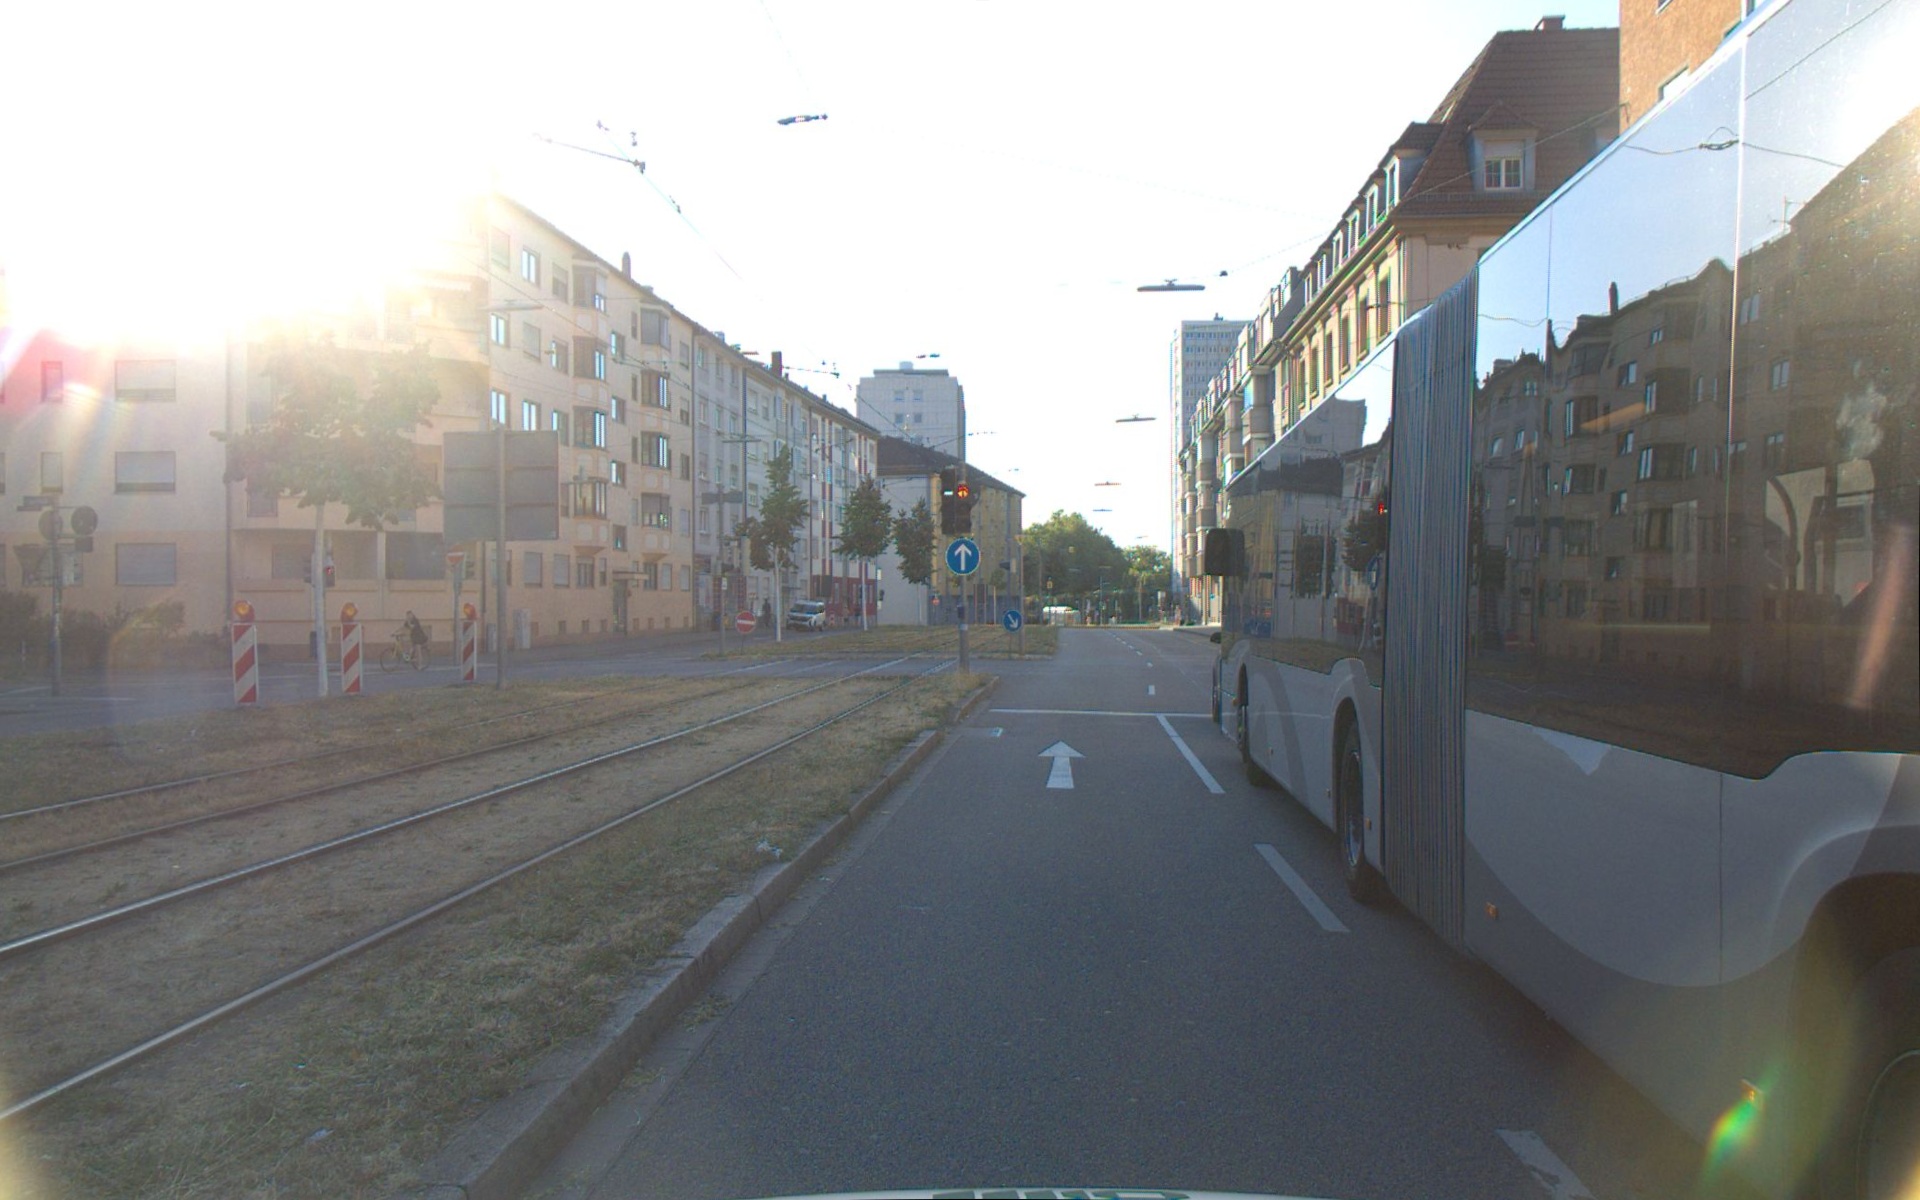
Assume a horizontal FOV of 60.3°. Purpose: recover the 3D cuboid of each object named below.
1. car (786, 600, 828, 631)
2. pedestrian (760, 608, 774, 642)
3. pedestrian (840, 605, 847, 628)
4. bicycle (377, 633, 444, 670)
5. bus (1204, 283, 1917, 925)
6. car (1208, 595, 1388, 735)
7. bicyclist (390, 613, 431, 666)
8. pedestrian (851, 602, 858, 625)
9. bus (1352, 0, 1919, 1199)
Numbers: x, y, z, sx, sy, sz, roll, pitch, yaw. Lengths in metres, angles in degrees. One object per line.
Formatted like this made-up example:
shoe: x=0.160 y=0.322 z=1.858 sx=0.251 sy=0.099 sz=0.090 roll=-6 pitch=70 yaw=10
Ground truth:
car: x=-9.508 y=0.982 z=102.885 sx=1.773 sy=1.829 sz=4.247 roll=1 pitch=-1 yaw=5
pedestrian: x=-11.855 y=1.519 z=101.640 sx=0.770 sy=2.049 sz=0.891 roll=0 pitch=-1 yaw=1
pedestrian: x=-8.667 y=1.204 z=123.034 sx=0.485 sy=1.687 sz=0.409 roll=-1 pitch=-1 yaw=4
bicycle: x=-15.453 y=1.438 z=46.557 sx=0.518 sy=1.001 sz=1.877 roll=-1 pitch=0 yaw=34
bus: x=3.609 y=0.013 z=12.684 sx=2.681 sy=3.109 sz=9.135 roll=1 pitch=0 yaw=4
car: x=4.241 y=0.763 z=21.307 sx=1.733 sy=1.603 sz=4.087 roll=-1 pitch=0 yaw=4
bicyclist: x=-15.463 y=1.103 z=46.563 sx=0.518 sy=1.472 sz=0.962 roll=-1 pitch=0 yaw=34
pedestrian: x=-7.848 y=1.004 z=123.214 sx=0.485 sy=1.687 sz=0.409 roll=-1 pitch=-1 yaw=4
bus: x=2.995 y=-0.015 z=3.680 sx=2.681 sy=3.109 sz=8.857 roll=1 pitch=0 yaw=4
